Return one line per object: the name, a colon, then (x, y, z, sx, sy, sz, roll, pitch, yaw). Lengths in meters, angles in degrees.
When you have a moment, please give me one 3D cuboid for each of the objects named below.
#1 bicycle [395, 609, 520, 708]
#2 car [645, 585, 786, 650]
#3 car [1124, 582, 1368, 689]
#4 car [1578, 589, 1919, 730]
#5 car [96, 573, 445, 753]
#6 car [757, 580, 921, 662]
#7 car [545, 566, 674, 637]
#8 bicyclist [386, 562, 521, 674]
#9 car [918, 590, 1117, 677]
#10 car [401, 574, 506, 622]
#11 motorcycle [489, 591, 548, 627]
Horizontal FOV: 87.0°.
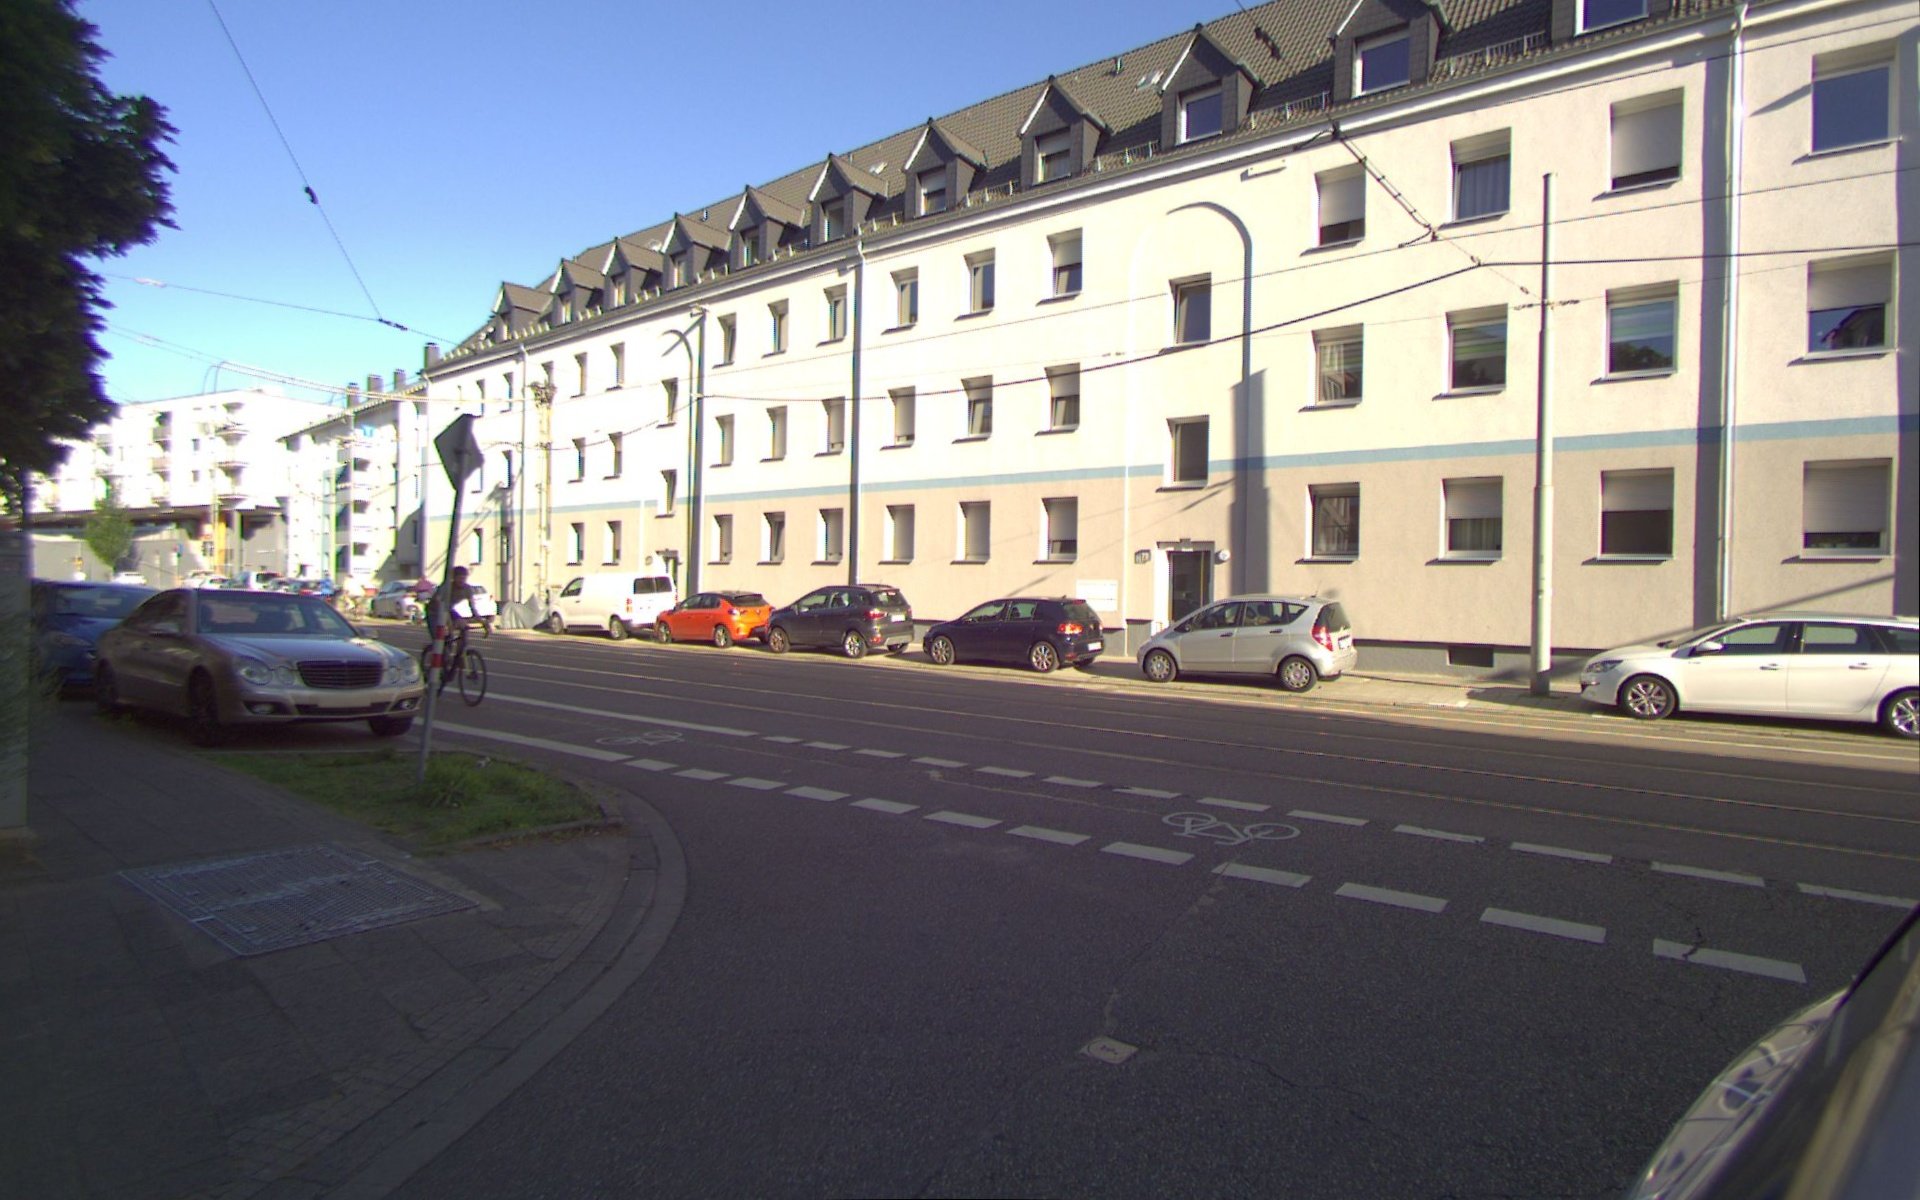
bicycle: (-6.473, 0.714, 12.989, 1.949, 1.115, 0.616, 1, 2, 37)
car: (-6.672, 0.414, 27.474, 3.759, 1.501, 1.778, 2, 5, 38)
car: (5.082, 0.545, 18.229, 3.884, 1.589, 1.737, 2, 4, 39)
car: (11.012, 0.707, 13.594, 4.484, 1.590, 1.663, 2, 2, 37)
car: (-7.118, 0.527, 10.325, 3.977, 1.461, 1.726, 2, -1, 37)
car: (-2.959, 0.432, 24.409, 3.883, 1.689, 1.644, 2, 4, 38)
car: (-10.611, -0.022, 30.561, 4.133, 1.995, 1.768, 2, 2, 39)
bicyclist: (-6.461, 0.204, 12.930, 1.088, 1.347, 1.172, 1, 1, 35)
car: (1.155, 0.626, 21.223, 3.983, 1.556, 1.577, 1, 3, 36)
car: (-19.140, -0.112, 38.175, 4.525, 1.666, 1.824, 2, 1, 38)
motorcycle: (-14.734, 0.297, 33.827, 1.736, 1.159, 0.492, 1, 0, -2)
